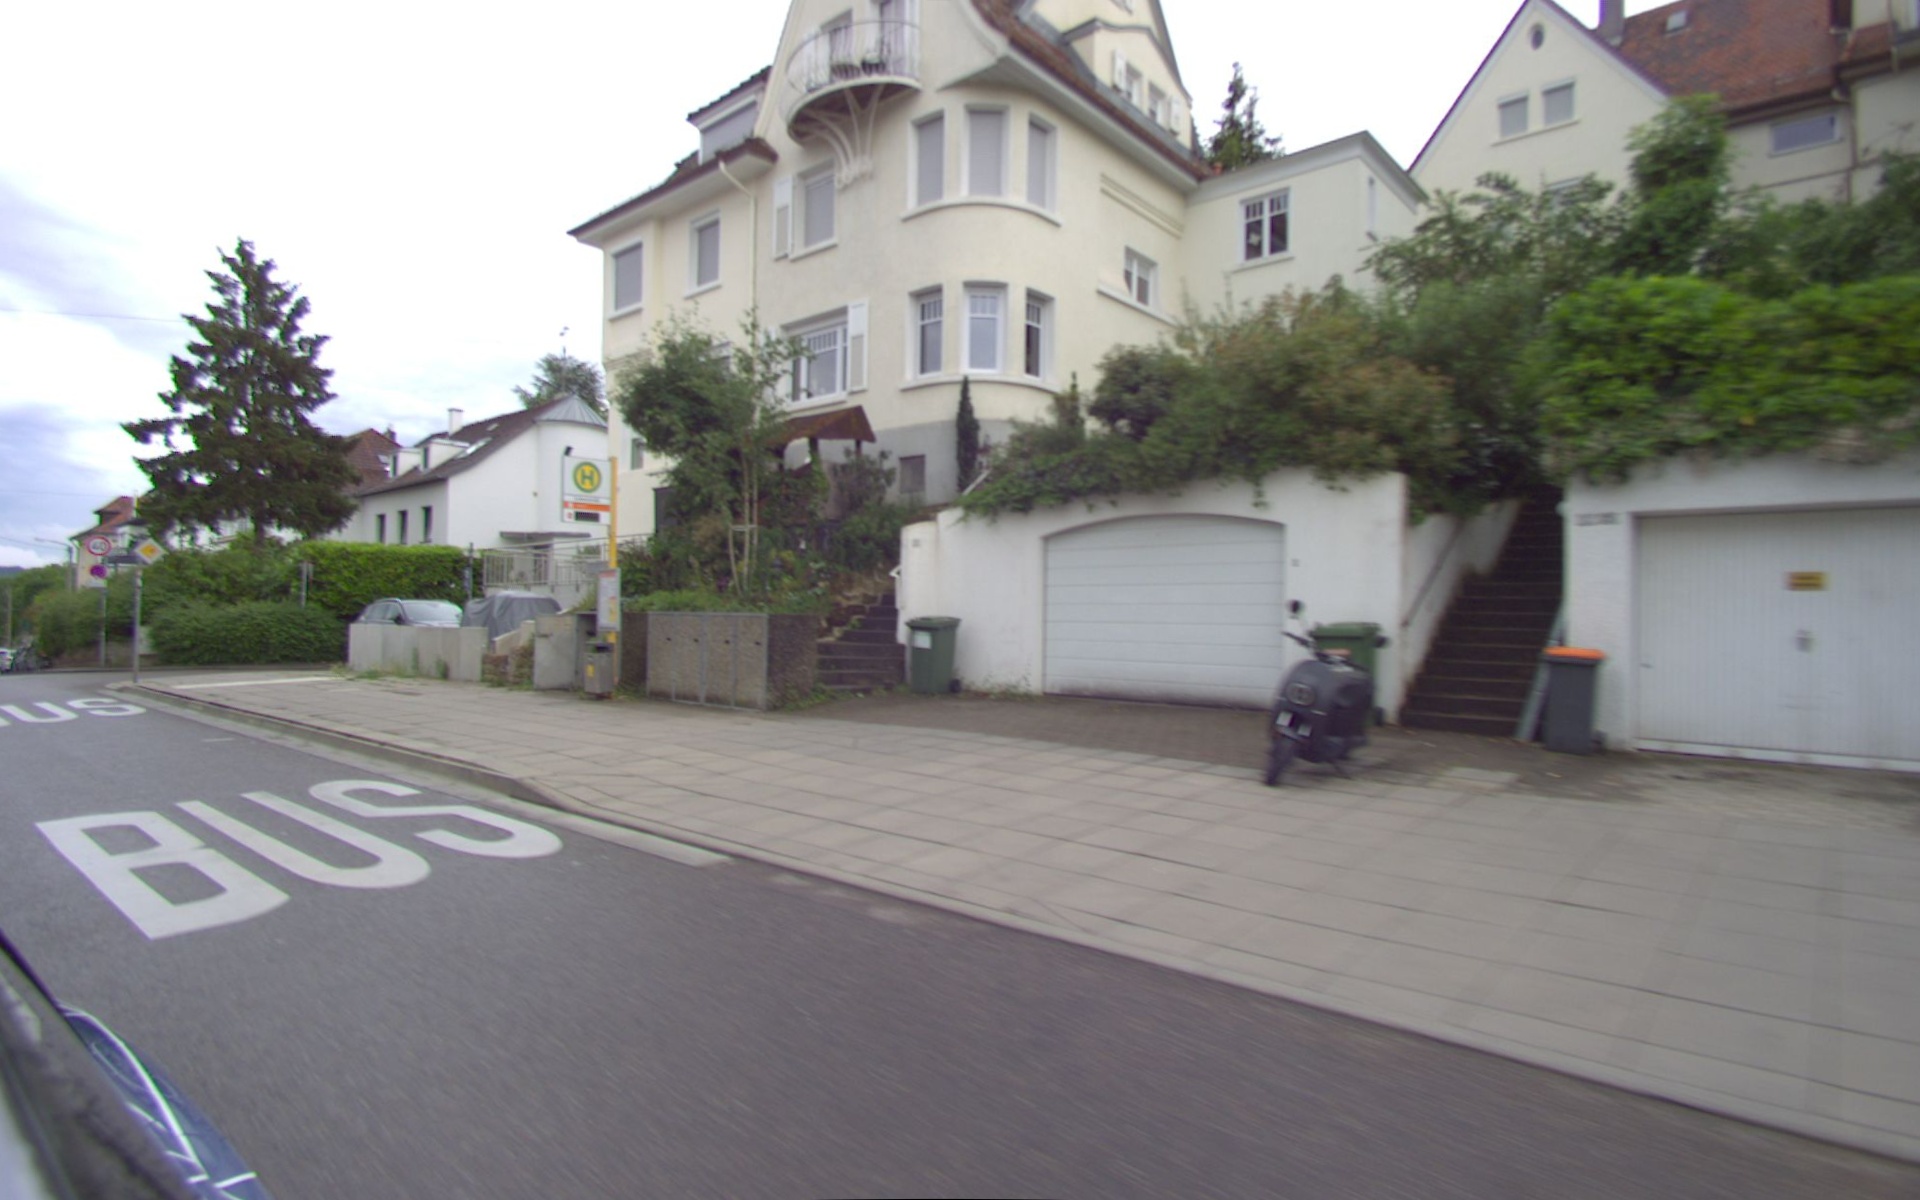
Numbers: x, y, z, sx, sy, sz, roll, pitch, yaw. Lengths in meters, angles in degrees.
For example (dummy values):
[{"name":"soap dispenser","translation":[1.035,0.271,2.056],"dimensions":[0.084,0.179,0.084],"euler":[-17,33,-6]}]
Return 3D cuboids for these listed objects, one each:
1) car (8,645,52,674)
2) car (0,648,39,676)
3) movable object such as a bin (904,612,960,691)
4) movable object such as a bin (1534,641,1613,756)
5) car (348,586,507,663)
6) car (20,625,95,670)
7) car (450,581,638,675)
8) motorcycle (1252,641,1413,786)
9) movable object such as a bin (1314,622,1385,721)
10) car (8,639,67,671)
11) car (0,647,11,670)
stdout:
[{"name":"car","translation":[-51.205,3.282,55.703],"dimensions":[2.893,1.502,1.502],"euler":[-4,-2,42]},{"name":"car","translation":[-54.679,3.572,58.654],"dimensions":[3.436,1.502,1.573],"euler":[-4,-2,42]},{"name":"movable object such as a bin","translation":[-0.387,0.700,13.935],"dimensions":[0.513,1.066,0.567],"euler":[-3,-3,41]},{"name":"movable object such as a bin","translation":[5.436,0.853,8.964],"dimensions":[0.512,0.961,0.568],"euler":[-3,-2,37]},{"name":"car","translation":[-12.316,0.609,23.315],"dimensions":[3.994,1.630,1.749],"euler":[-3,-2,38]},{"name":"car","translation":[-43.223,2.310,48.422],"dimensions":[4.769,1.972,1.974],"euler":[-4,-2,39]},{"name":"car","translation":[-8.436,0.593,20.379],"dimensions":[3.994,1.709,1.749],"euler":[-3,-2,38]},{"name":"motorcycle","translation":[2.972,0.828,7.967],"dimensions":[0.603,0.910,1.776],"euler":[-1,1,41]},{"name":"movable object such as a bin","translation":[3.955,0.714,10.273],"dimensions":[0.512,0.961,0.568],"euler":[-3,-2,37]},{"name":"car","translation":[-47.937,2.879,52.572],"dimensions":[4.399,1.502,1.675],"euler":[-4,-2,40]},{"name":"car","translation":[-64.078,3.879,66.891],"dimensions":[4.001,1.512,1.843],"euler":[-3,-3,44]}]
